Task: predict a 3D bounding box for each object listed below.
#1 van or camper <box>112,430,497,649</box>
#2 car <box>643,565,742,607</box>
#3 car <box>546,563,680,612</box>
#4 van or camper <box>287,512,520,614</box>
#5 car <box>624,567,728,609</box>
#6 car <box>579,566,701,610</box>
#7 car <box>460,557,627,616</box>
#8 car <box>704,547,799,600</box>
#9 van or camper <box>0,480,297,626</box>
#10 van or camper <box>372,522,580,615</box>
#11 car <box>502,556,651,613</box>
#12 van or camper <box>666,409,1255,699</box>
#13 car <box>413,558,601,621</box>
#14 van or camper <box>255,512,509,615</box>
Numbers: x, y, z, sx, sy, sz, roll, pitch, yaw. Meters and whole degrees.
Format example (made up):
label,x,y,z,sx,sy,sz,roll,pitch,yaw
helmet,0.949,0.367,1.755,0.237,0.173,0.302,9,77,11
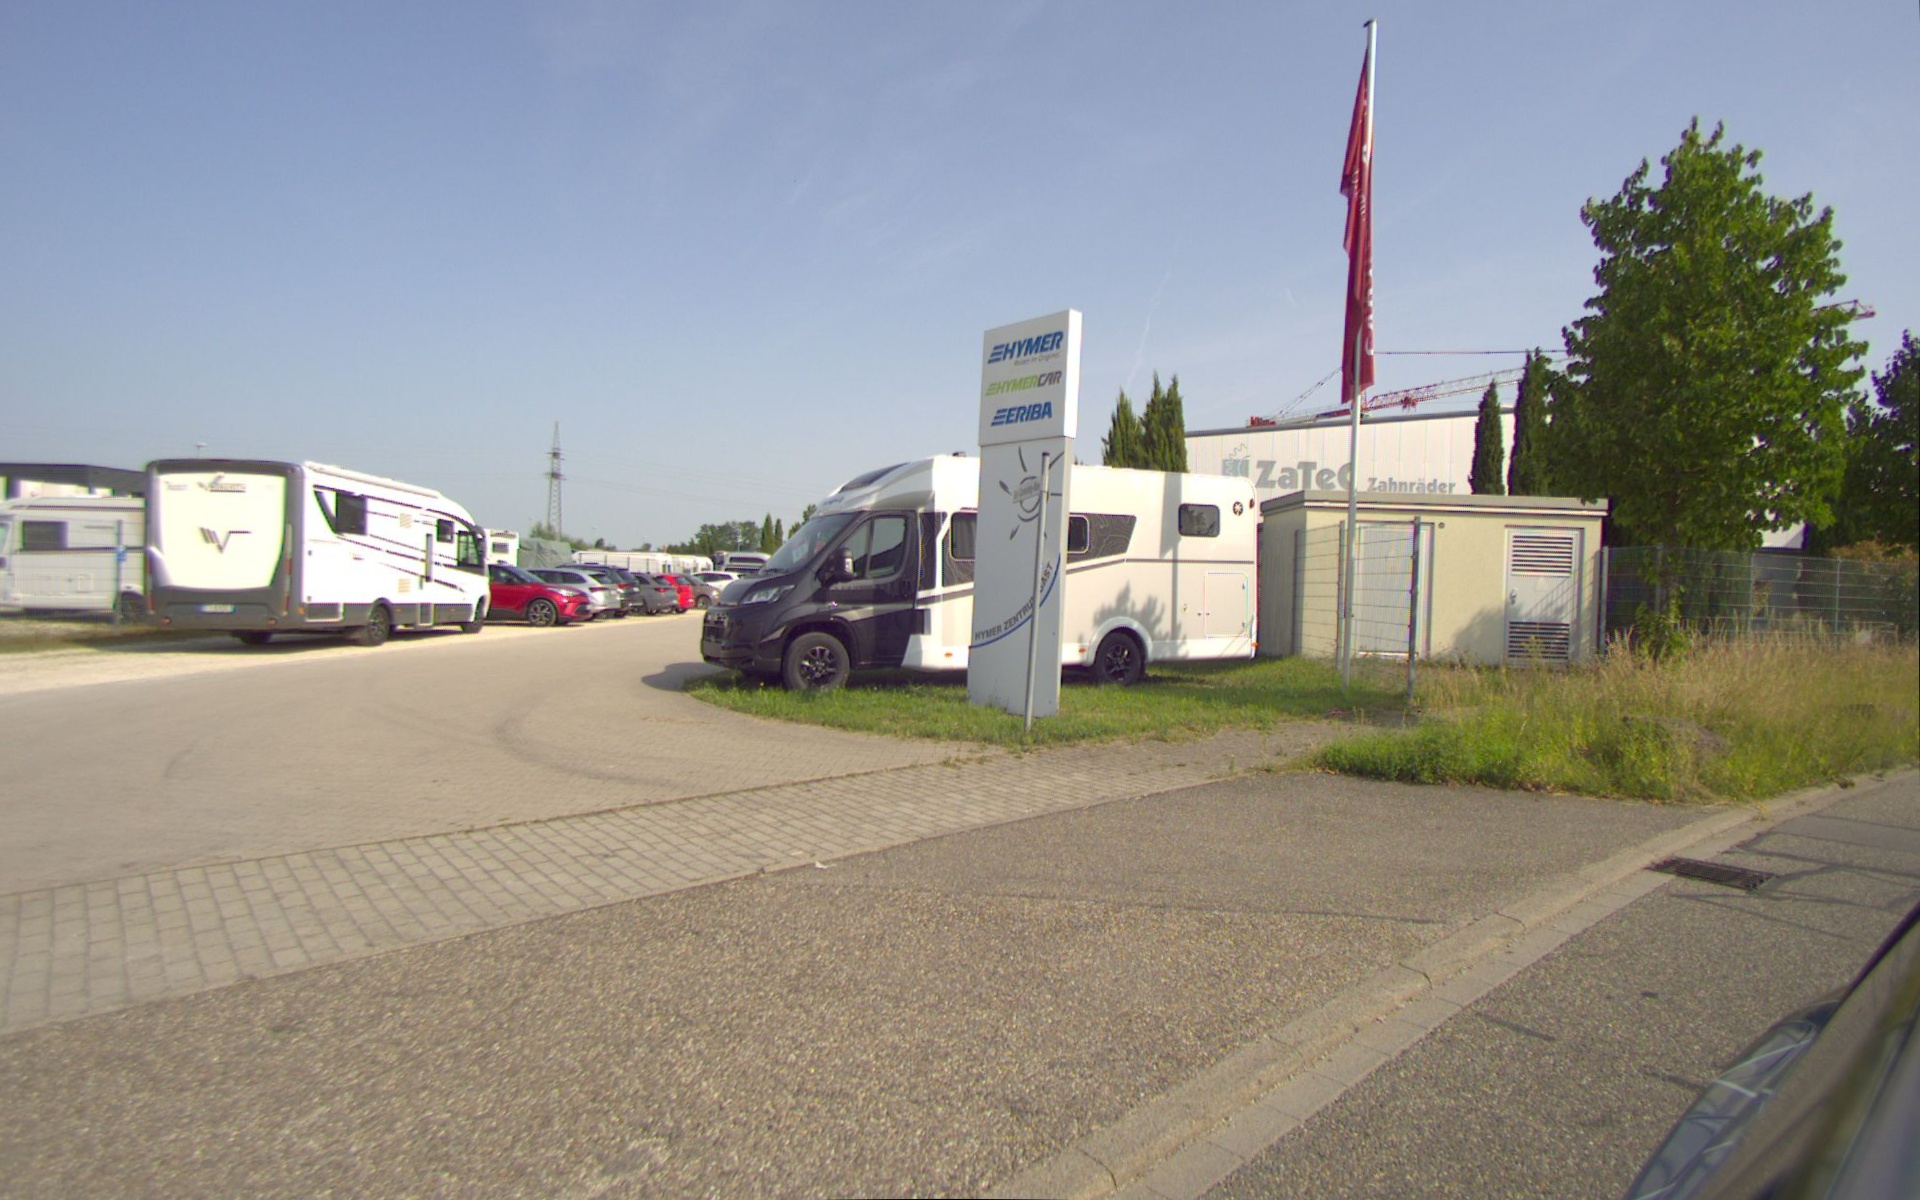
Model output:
label,x,y,z,sx,sy,sz,roll,pitch,yaw
van or camper,-11.106,-0.939,18.236,2.534,3.069,7.289,2,1,-4
car,-11.784,-0.611,44.708,3.873,1.691,1.541,2,-1,2
car,-11.459,-0.405,33.577,3.872,1.479,1.541,2,-1,2
van or camper,-18.666,-1.222,34.200,6.485,3.168,2.492,1,1,1
car,-11.774,-0.492,42.119,3.871,1.578,1.542,2,-1,0
car,-11.389,-0.422,36.167,3.871,1.390,1.542,2,-1,0
car,-11.490,-0.349,28.119,3.923,1.515,1.716,1,-1,-1
car,-11.129,-1.445,54.220,4.619,2.631,1.712,2,1,8
van or camper,-18.358,-1.008,21.925,6.485,2.899,2.328,1,1,1
van or camper,-17.779,-1.155,37.442,6.485,3.168,2.492,1,1,1
car,-11.628,-0.440,30.838,3.872,1.612,1.715,1,-1,1
van or camper,0.198,-0.483,12.830,7.193,2.883,2.360,0,1,-29
car,-11.239,-0.247,25.323,3.921,1.435,1.716,1,-1,-3
van or camper,-17.669,-1.101,31.161,6.485,2.899,2.328,1,1,1
